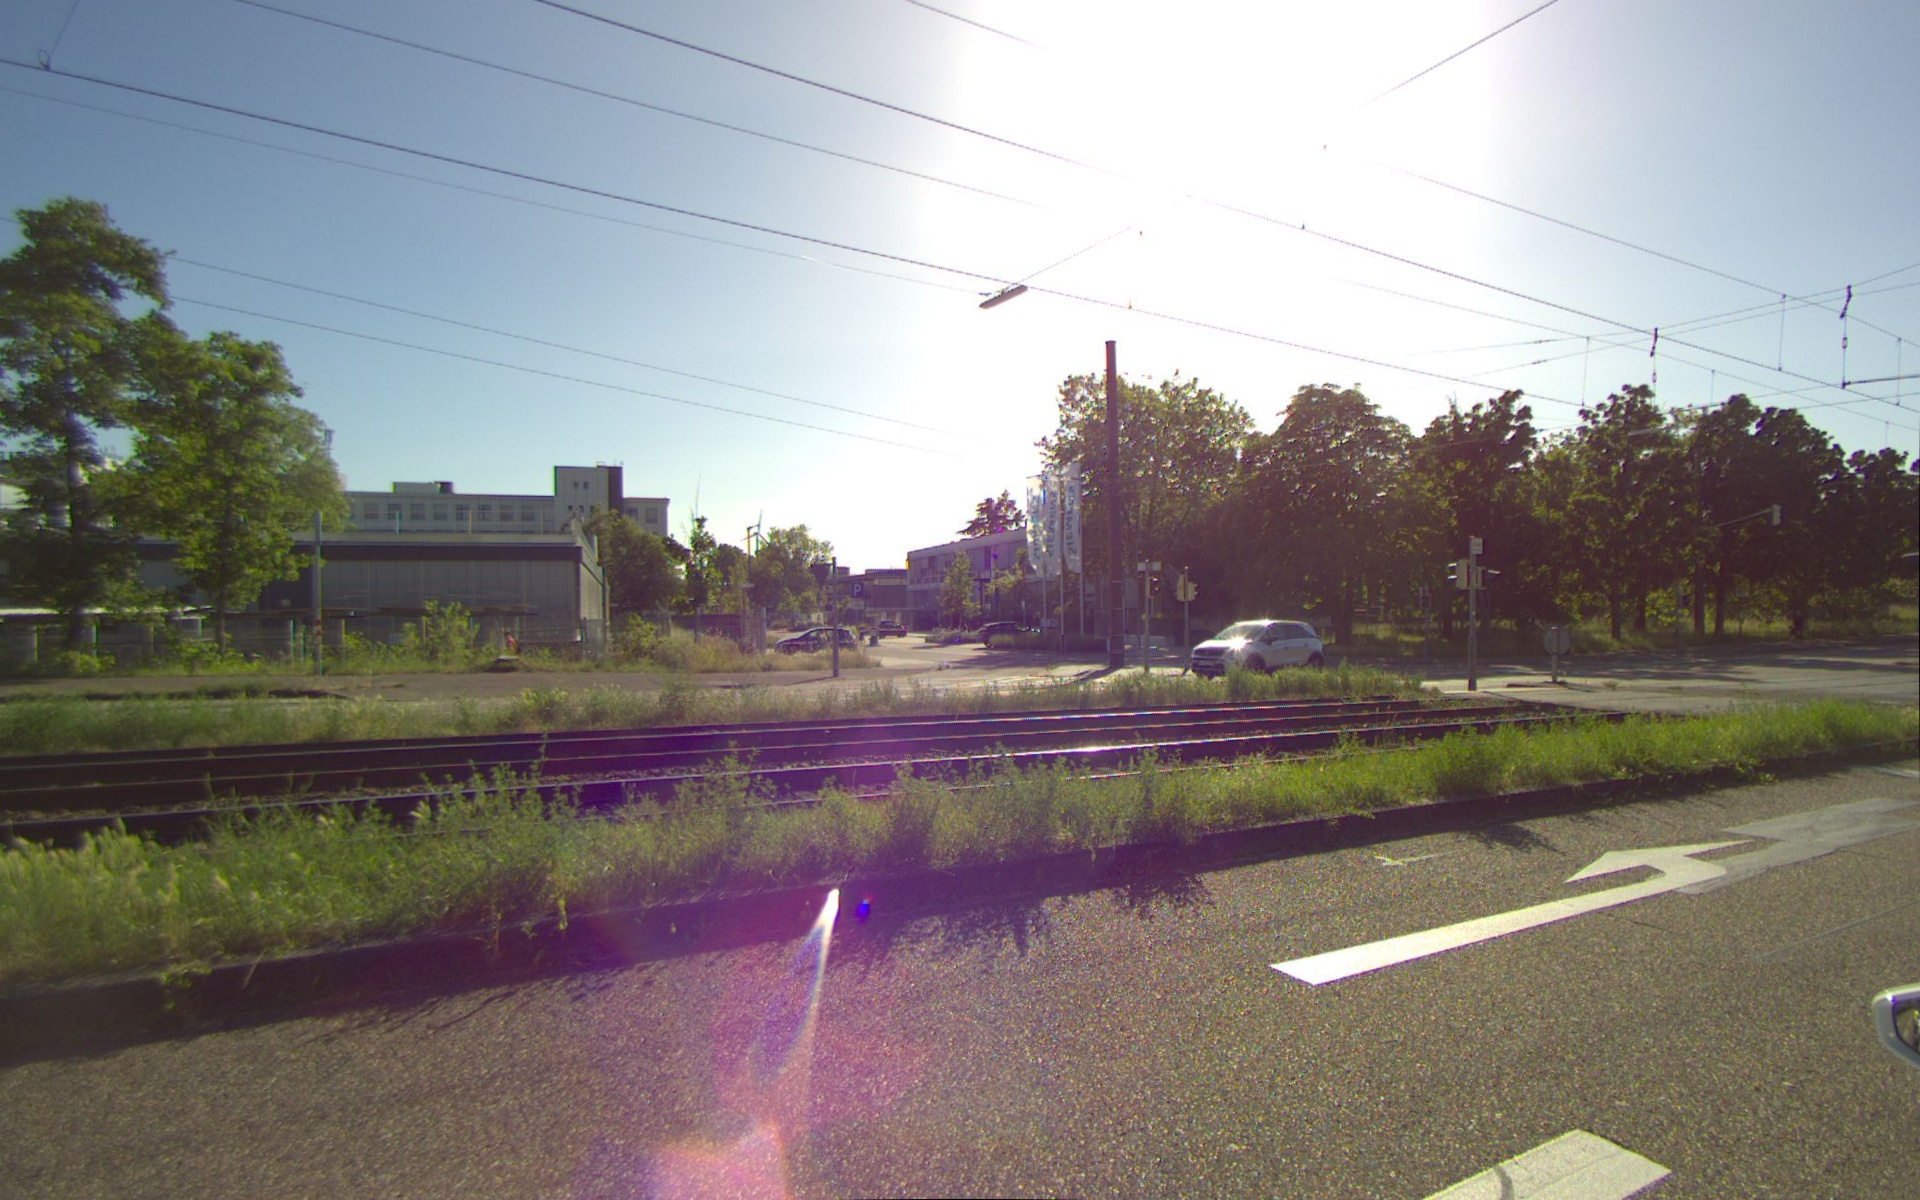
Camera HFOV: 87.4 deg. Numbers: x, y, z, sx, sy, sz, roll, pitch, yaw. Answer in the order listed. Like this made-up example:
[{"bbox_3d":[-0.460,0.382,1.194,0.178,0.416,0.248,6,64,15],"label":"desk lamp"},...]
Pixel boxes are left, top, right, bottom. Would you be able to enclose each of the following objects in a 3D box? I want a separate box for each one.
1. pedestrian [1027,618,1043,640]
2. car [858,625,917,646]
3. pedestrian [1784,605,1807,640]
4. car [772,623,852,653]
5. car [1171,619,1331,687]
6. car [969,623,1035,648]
[{"bbox_3d":[5.183,2.004,69.404,0.810,1.549,0.762,1,0,-17],"label":"pedestrian"},{"bbox_3d":[-5.162,2.529,71.770,3.893,1.471,1.688,1,0,-21],"label":"car"},{"bbox_3d":[49.292,1.297,59.270,0.853,2.040,0.835,1,0,-32],"label":"pedestrian"},{"bbox_3d":[-7.622,1.927,51.682,3.806,1.453,1.687,1,0,-23],"label":"car"},{"bbox_3d":[7.686,1.337,26.409,4.212,1.628,1.839,1,0,-35],"label":"car"},{"bbox_3d":[2.595,2.159,61.693,3.818,1.508,1.682,1,0,-32],"label":"car"}]
